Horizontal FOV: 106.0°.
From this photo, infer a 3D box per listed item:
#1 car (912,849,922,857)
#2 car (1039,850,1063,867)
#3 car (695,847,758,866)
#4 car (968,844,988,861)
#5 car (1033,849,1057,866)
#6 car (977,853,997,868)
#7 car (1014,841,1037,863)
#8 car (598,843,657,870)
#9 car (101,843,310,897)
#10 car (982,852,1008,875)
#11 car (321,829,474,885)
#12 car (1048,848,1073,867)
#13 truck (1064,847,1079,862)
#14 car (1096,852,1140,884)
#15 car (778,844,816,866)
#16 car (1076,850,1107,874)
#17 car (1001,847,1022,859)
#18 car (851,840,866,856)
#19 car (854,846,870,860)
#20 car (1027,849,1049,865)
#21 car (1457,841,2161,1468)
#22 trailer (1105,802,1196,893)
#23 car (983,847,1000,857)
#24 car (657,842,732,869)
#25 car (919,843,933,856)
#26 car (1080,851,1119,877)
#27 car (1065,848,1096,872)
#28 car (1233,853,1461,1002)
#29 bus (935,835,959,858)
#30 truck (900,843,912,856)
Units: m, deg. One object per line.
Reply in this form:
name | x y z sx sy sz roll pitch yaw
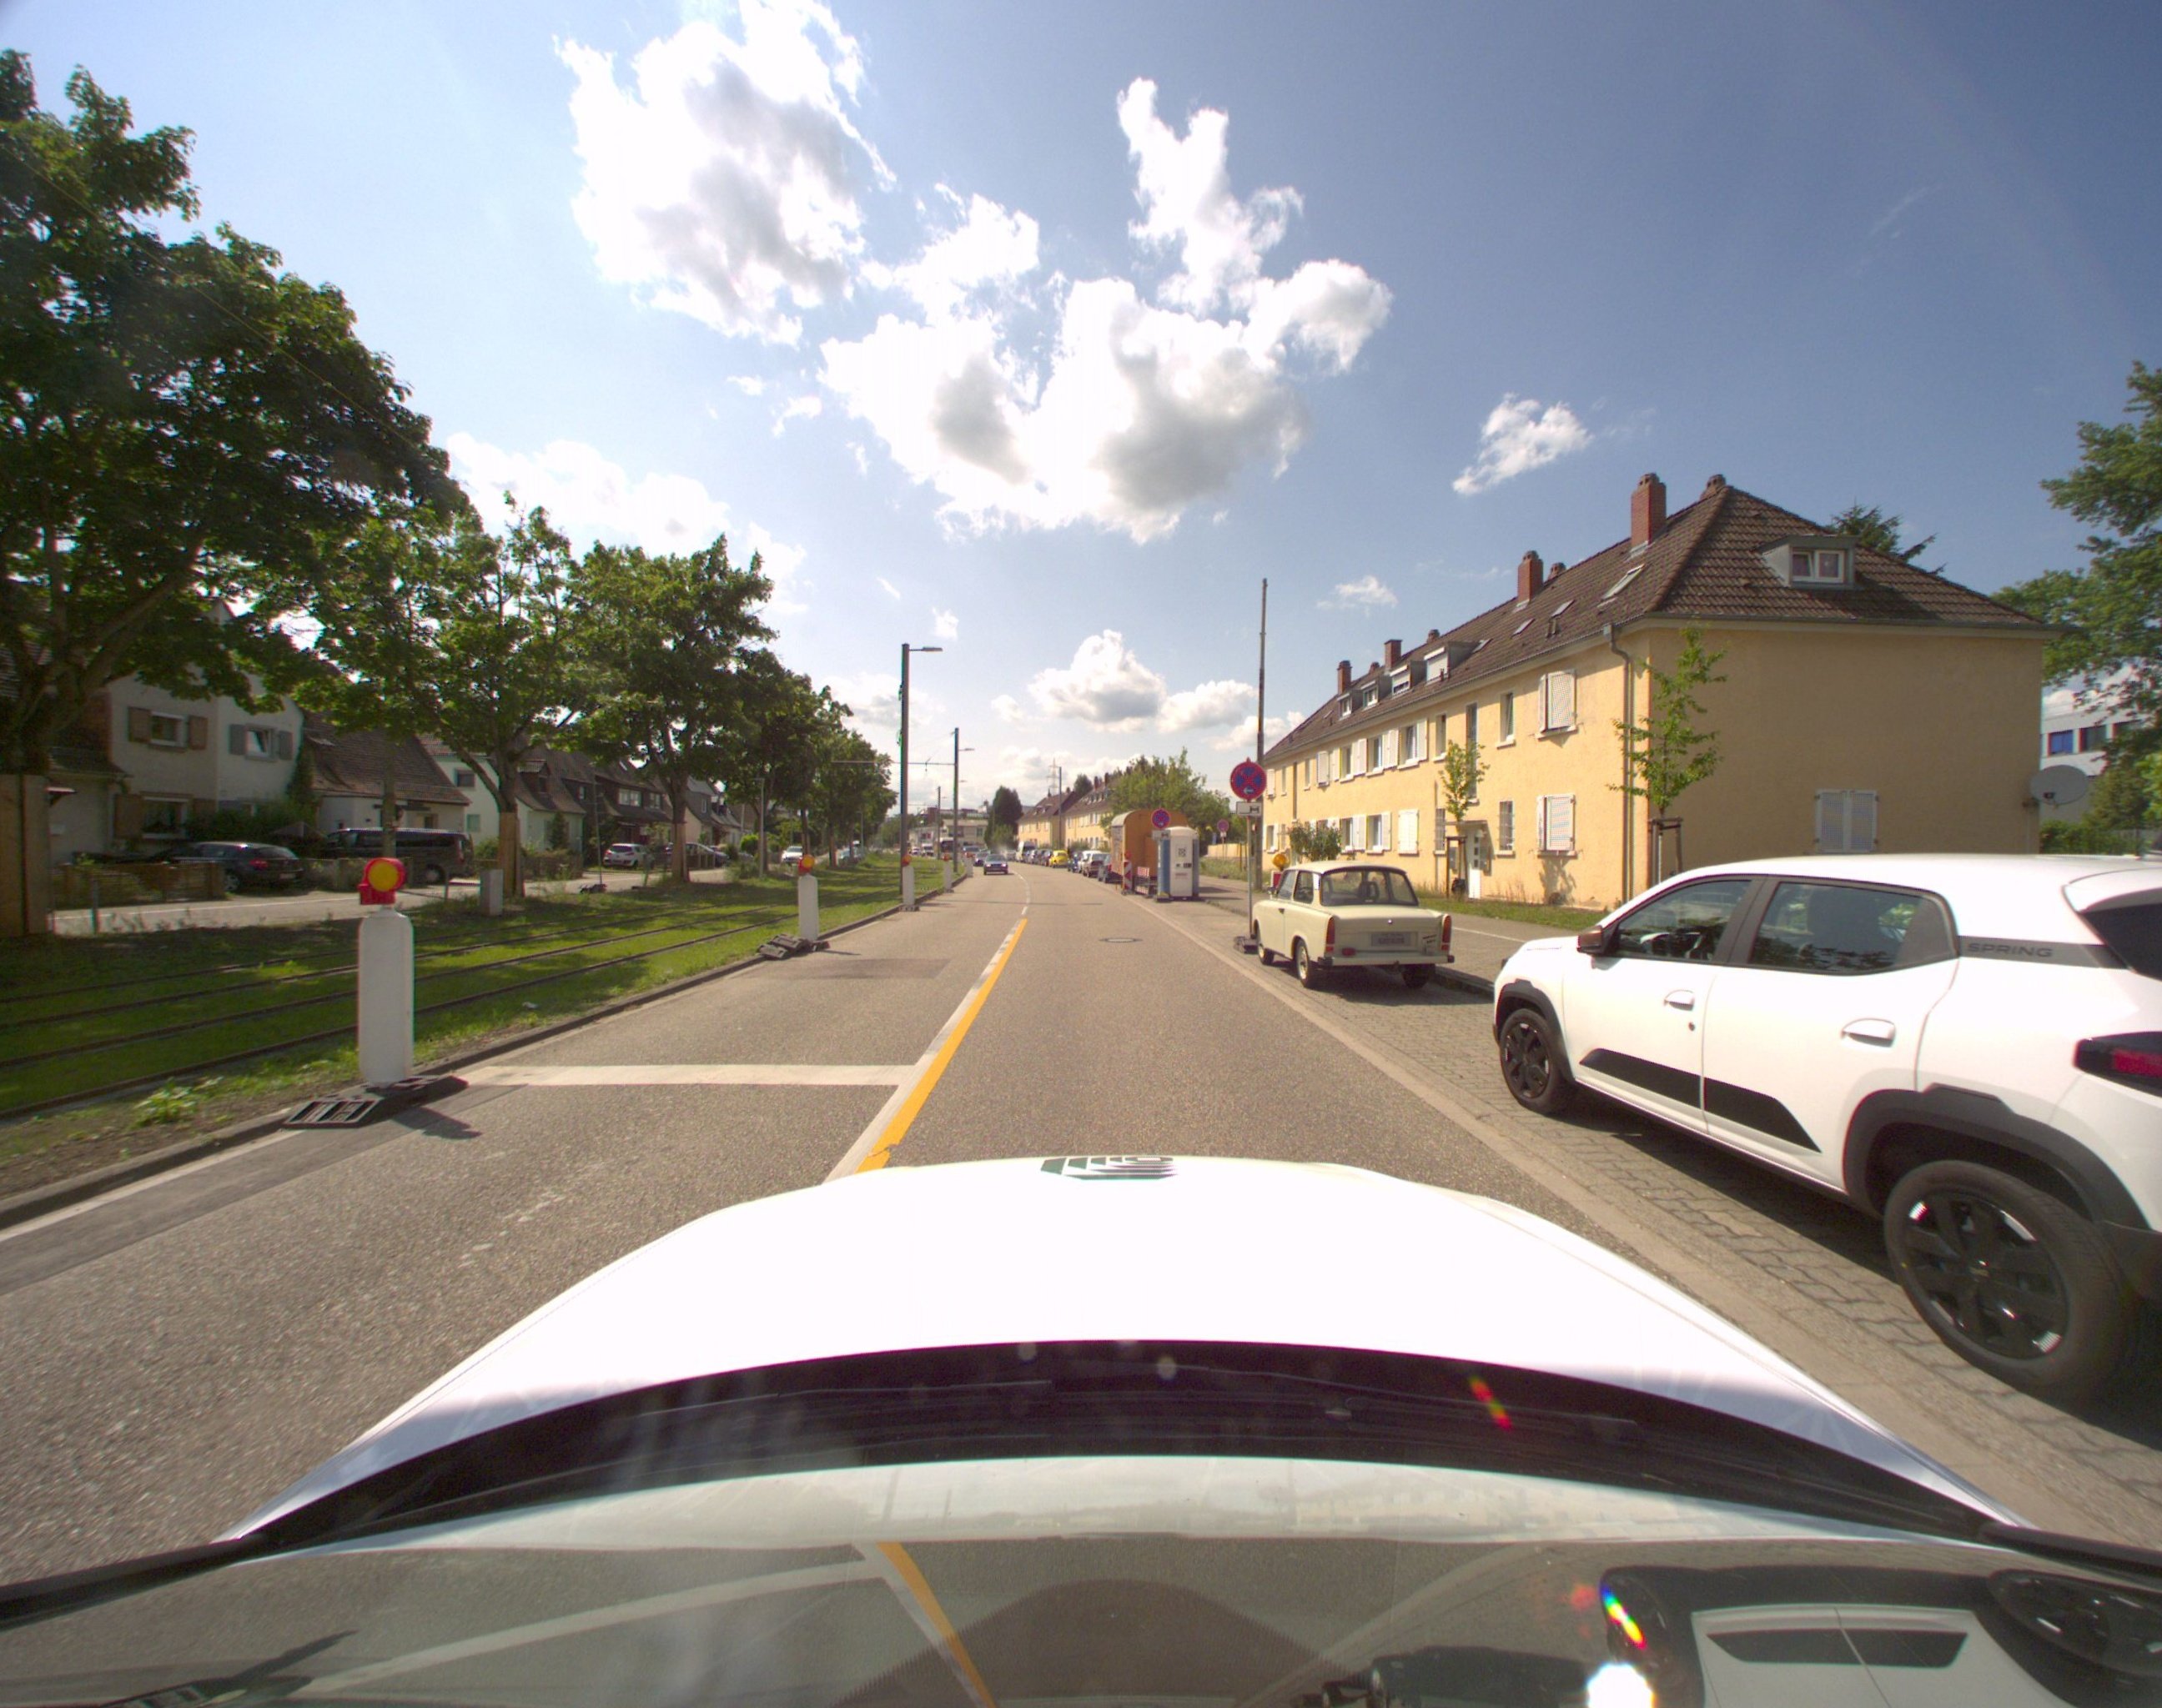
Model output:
car | -36.662 -0.193 181.527 1.739 1.773 4.283 1 0 -17
car | -2.802 0.382 75.495 1.637 1.482 4.109 1 0 -11
car | -29.387 0.223 67.597 4.472 1.523 1.918 1 0 -11
car | -12.347 -0.174 97.392 1.957 1.966 5.270 0 0 -13
car | -3.609 0.311 80.947 1.638 1.602 3.914 1 0 -13
car | -9.258 0.632 80.020 1.724 1.389 4.109 0 0 -9
car | -6.505 -0.272 94.780 1.931 2.480 5.494 0 0 -12
car | -26.590 0.152 47.864 1.728 1.517 4.031 1 0 -9
car | -25.030 0.444 23.406 3.878 1.457 1.732 0 0 -6
car | -6.004 0.646 56.802 1.663 1.449 3.951 -2 0 -6
car | -25.280 0.124 30.296 3.902 1.897 1.927 2 -1 -25
car | -1.777 0.268 70.338 1.636 1.482 3.919 -2 1 -9
truck | -1.095 0.043 93.496 1.347 1.688 2.431 0 0 -12
car | 1.763 0.640 40.097 1.575 1.449 4.444 1 0 -6
car | -24.340 0.095 70.003 1.878 1.768 5.074 0 0 -5
car | 0.643 0.476 53.010 1.575 1.513 4.450 1 0 -6
car | -9.163 -0.122 107.224 1.803 1.458 4.738 -1 0 -16
car | -39.512 -1.012 144.568 2.081 2.721 6.956 -1 1 -20
car | -26.047 -0.106 96.931 1.814 1.586 4.545 -1 1 -15
car | -4.505 0.275 84.805 1.637 1.602 4.014 1 0 -11
car | 3.331 0.701 3.711 1.522 1.481 3.810 0 0 1
trailer | 2.573 -0.230 31.727 2.686 3.226 5.073 1 0 -5
car | -13.306 -0.303 121.004 1.767 1.417 3.979 -1 1 -16
car | -27.720 0.100 58.509 4.472 1.836 2.057 1 0 -11
car | -29.166 -0.822 153.431 2.107 2.443 5.540 1 0 -16
car | 1.051 0.538 47.937 1.704 1.449 4.825 1 0 -6
car | -0.089 0.427 58.087 1.548 1.641 4.234 1 0 -9
car | 3.115 0.748 10.402 1.459 1.502 4.106 0 0 -2
bus | -21.339 -1.152 129.520 2.640 3.412 12.188 -1 1 -14
truck | -45.439 -1.204 211.472 2.565 3.459 7.110 -1 1 -17
